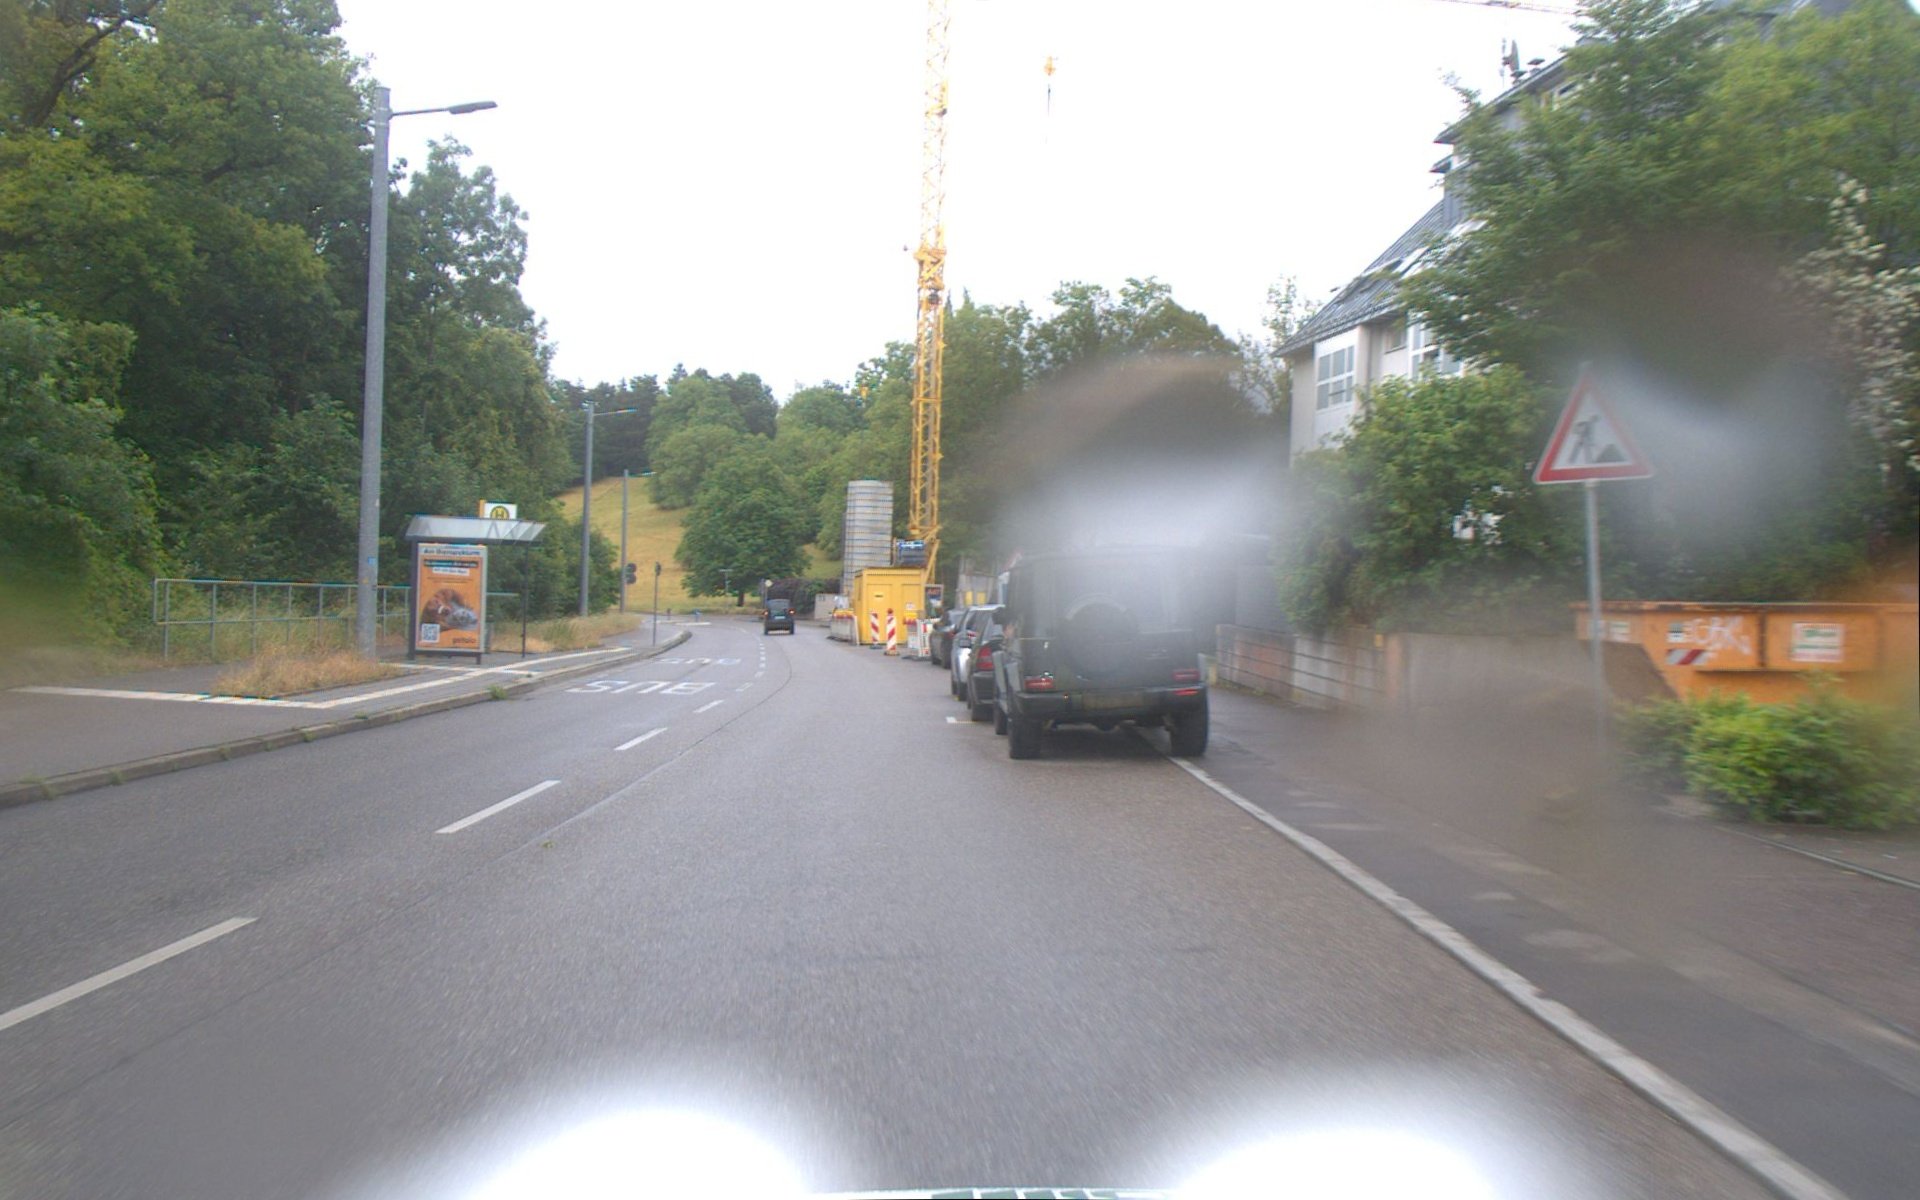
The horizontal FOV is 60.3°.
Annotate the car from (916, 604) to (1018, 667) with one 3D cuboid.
[{"bbox_3d":[0.112,0.834,41.076,1.895,1.447,4.829,0,0,-8],"label":"car"}]

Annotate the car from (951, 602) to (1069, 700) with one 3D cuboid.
[{"bbox_3d":[0.750,0.782,26.732,1.640,1.483,3.383,0,0,-3],"label":"car"}]

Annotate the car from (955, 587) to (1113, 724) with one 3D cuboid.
[{"bbox_3d":[0.908,0.702,22.549,1.892,1.624,4.394,-2,-1,0],"label":"car"}]

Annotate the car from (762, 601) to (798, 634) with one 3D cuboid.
[{"bbox_3d":[-9.822,0.947,90.207,1.895,1.782,3.994,0,-1,-6],"label":"car"}]

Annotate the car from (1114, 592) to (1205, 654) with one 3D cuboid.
[{"bbox_3d":[5.267,0.596,44.127,1.661,1.498,3.997,4,-1,-3],"label":"car"}]

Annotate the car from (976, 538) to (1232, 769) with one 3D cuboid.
[{"bbox_3d":[1.335,0.494,17.495,1.954,2.049,4.953,-1,0,-4],"label":"car"}]
